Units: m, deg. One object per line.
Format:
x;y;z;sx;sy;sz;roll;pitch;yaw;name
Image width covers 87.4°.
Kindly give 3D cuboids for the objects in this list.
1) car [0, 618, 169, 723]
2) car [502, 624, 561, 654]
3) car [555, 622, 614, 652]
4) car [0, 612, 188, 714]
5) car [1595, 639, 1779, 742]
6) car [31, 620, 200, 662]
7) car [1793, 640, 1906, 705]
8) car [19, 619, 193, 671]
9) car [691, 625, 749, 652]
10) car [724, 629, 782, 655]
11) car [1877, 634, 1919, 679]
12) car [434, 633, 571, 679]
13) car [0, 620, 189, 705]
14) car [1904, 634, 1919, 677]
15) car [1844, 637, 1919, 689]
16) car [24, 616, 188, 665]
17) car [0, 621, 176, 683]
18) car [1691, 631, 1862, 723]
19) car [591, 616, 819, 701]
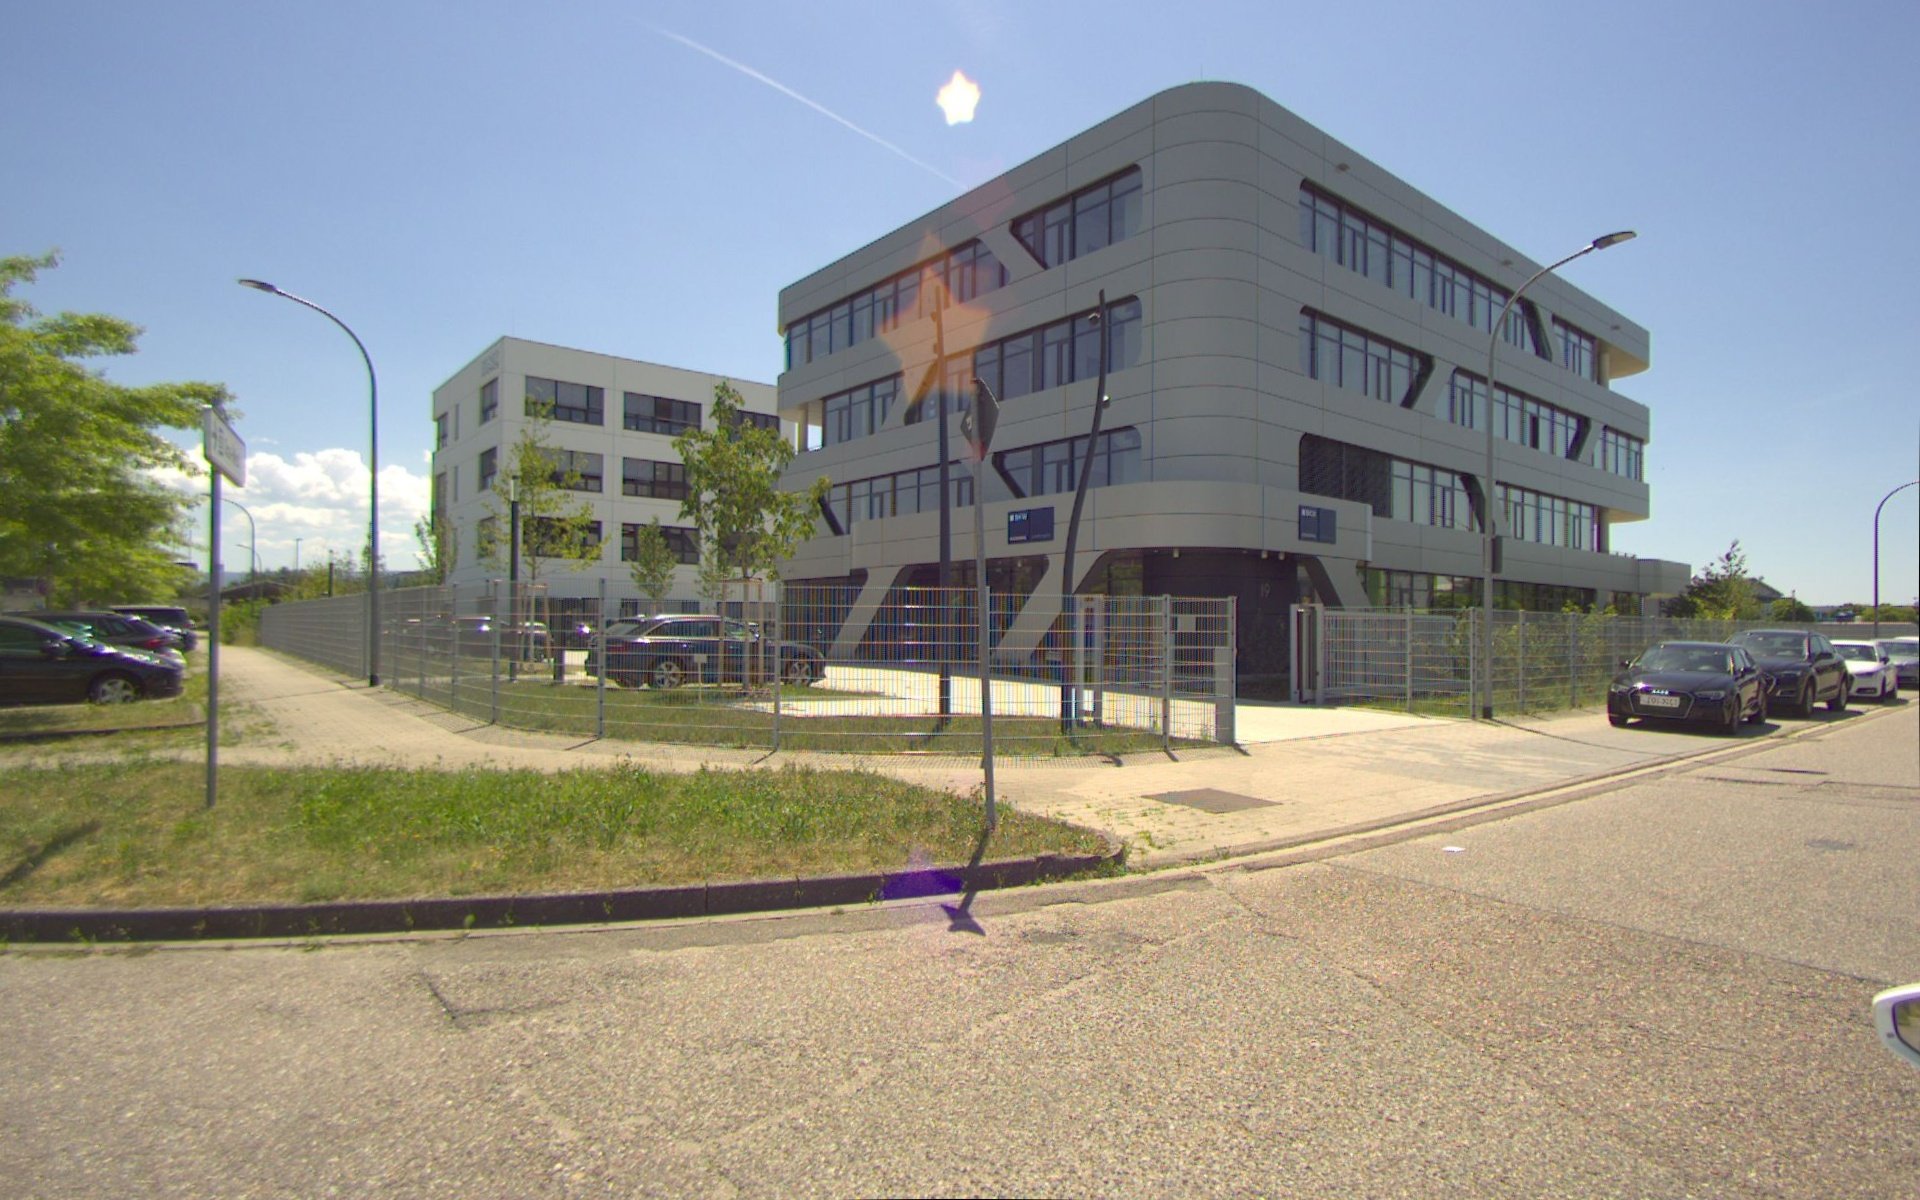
-14.427;1.064;15.220;3.763;1.495;1.594;0;-1;-37;car
-22.762;2.054;53.303;1.762;1.531;4.058;1;-3;-40;car
-20.571;2.036;54.949;1.762;1.531;4.058;1;-3;-40;car
-15.977;1.072;17.289;4.214;1.642;1.594;0;-1;-37;car
12.653;1.462;17.391;4.155;1.486;1.754;1;-2;-42;car
-33.705;1.597;40.296;5.072;1.495;2.191;0;-1;-40;car
21.840;1.712;24.621;3.909;1.404;1.683;1;-2;-43;car
-26.732;1.375;31.607;4.082;1.495;1.593;0;-1;-40;car
-14.420;2.320;60.122;1.762;1.531;4.058;1;-3;-40;car
-12.722;2.588;61.499;1.762;1.531;4.058;1;-3;-40;car
33.355;1.934;34.905;4.404;1.463;1.688;2;-1;-41;car
-15.995;1.932;35.193;4.072;1.531;1.756;2;-3;-40;car
-17.416;1.181;19.294;4.082;1.495;1.593;0;-1;-40;car
37.231;2.080;38.034;4.536;1.556;1.688;2;-1;-41;car
28.352;1.864;30.403;4.599;1.404;1.671;1;-2;-39;car
-28.372;1.320;33.509;4.082;1.495;1.593;0;-1;-40;car
-23.336;1.350;26.557;4.082;1.495;1.593;0;-1;-40;car
17.144;1.509;21.008;4.807;1.673;1.756;1;-2;-38;car
-5.002;1.120;20.012;4.072;1.531;1.756;2;-3;-40;car
